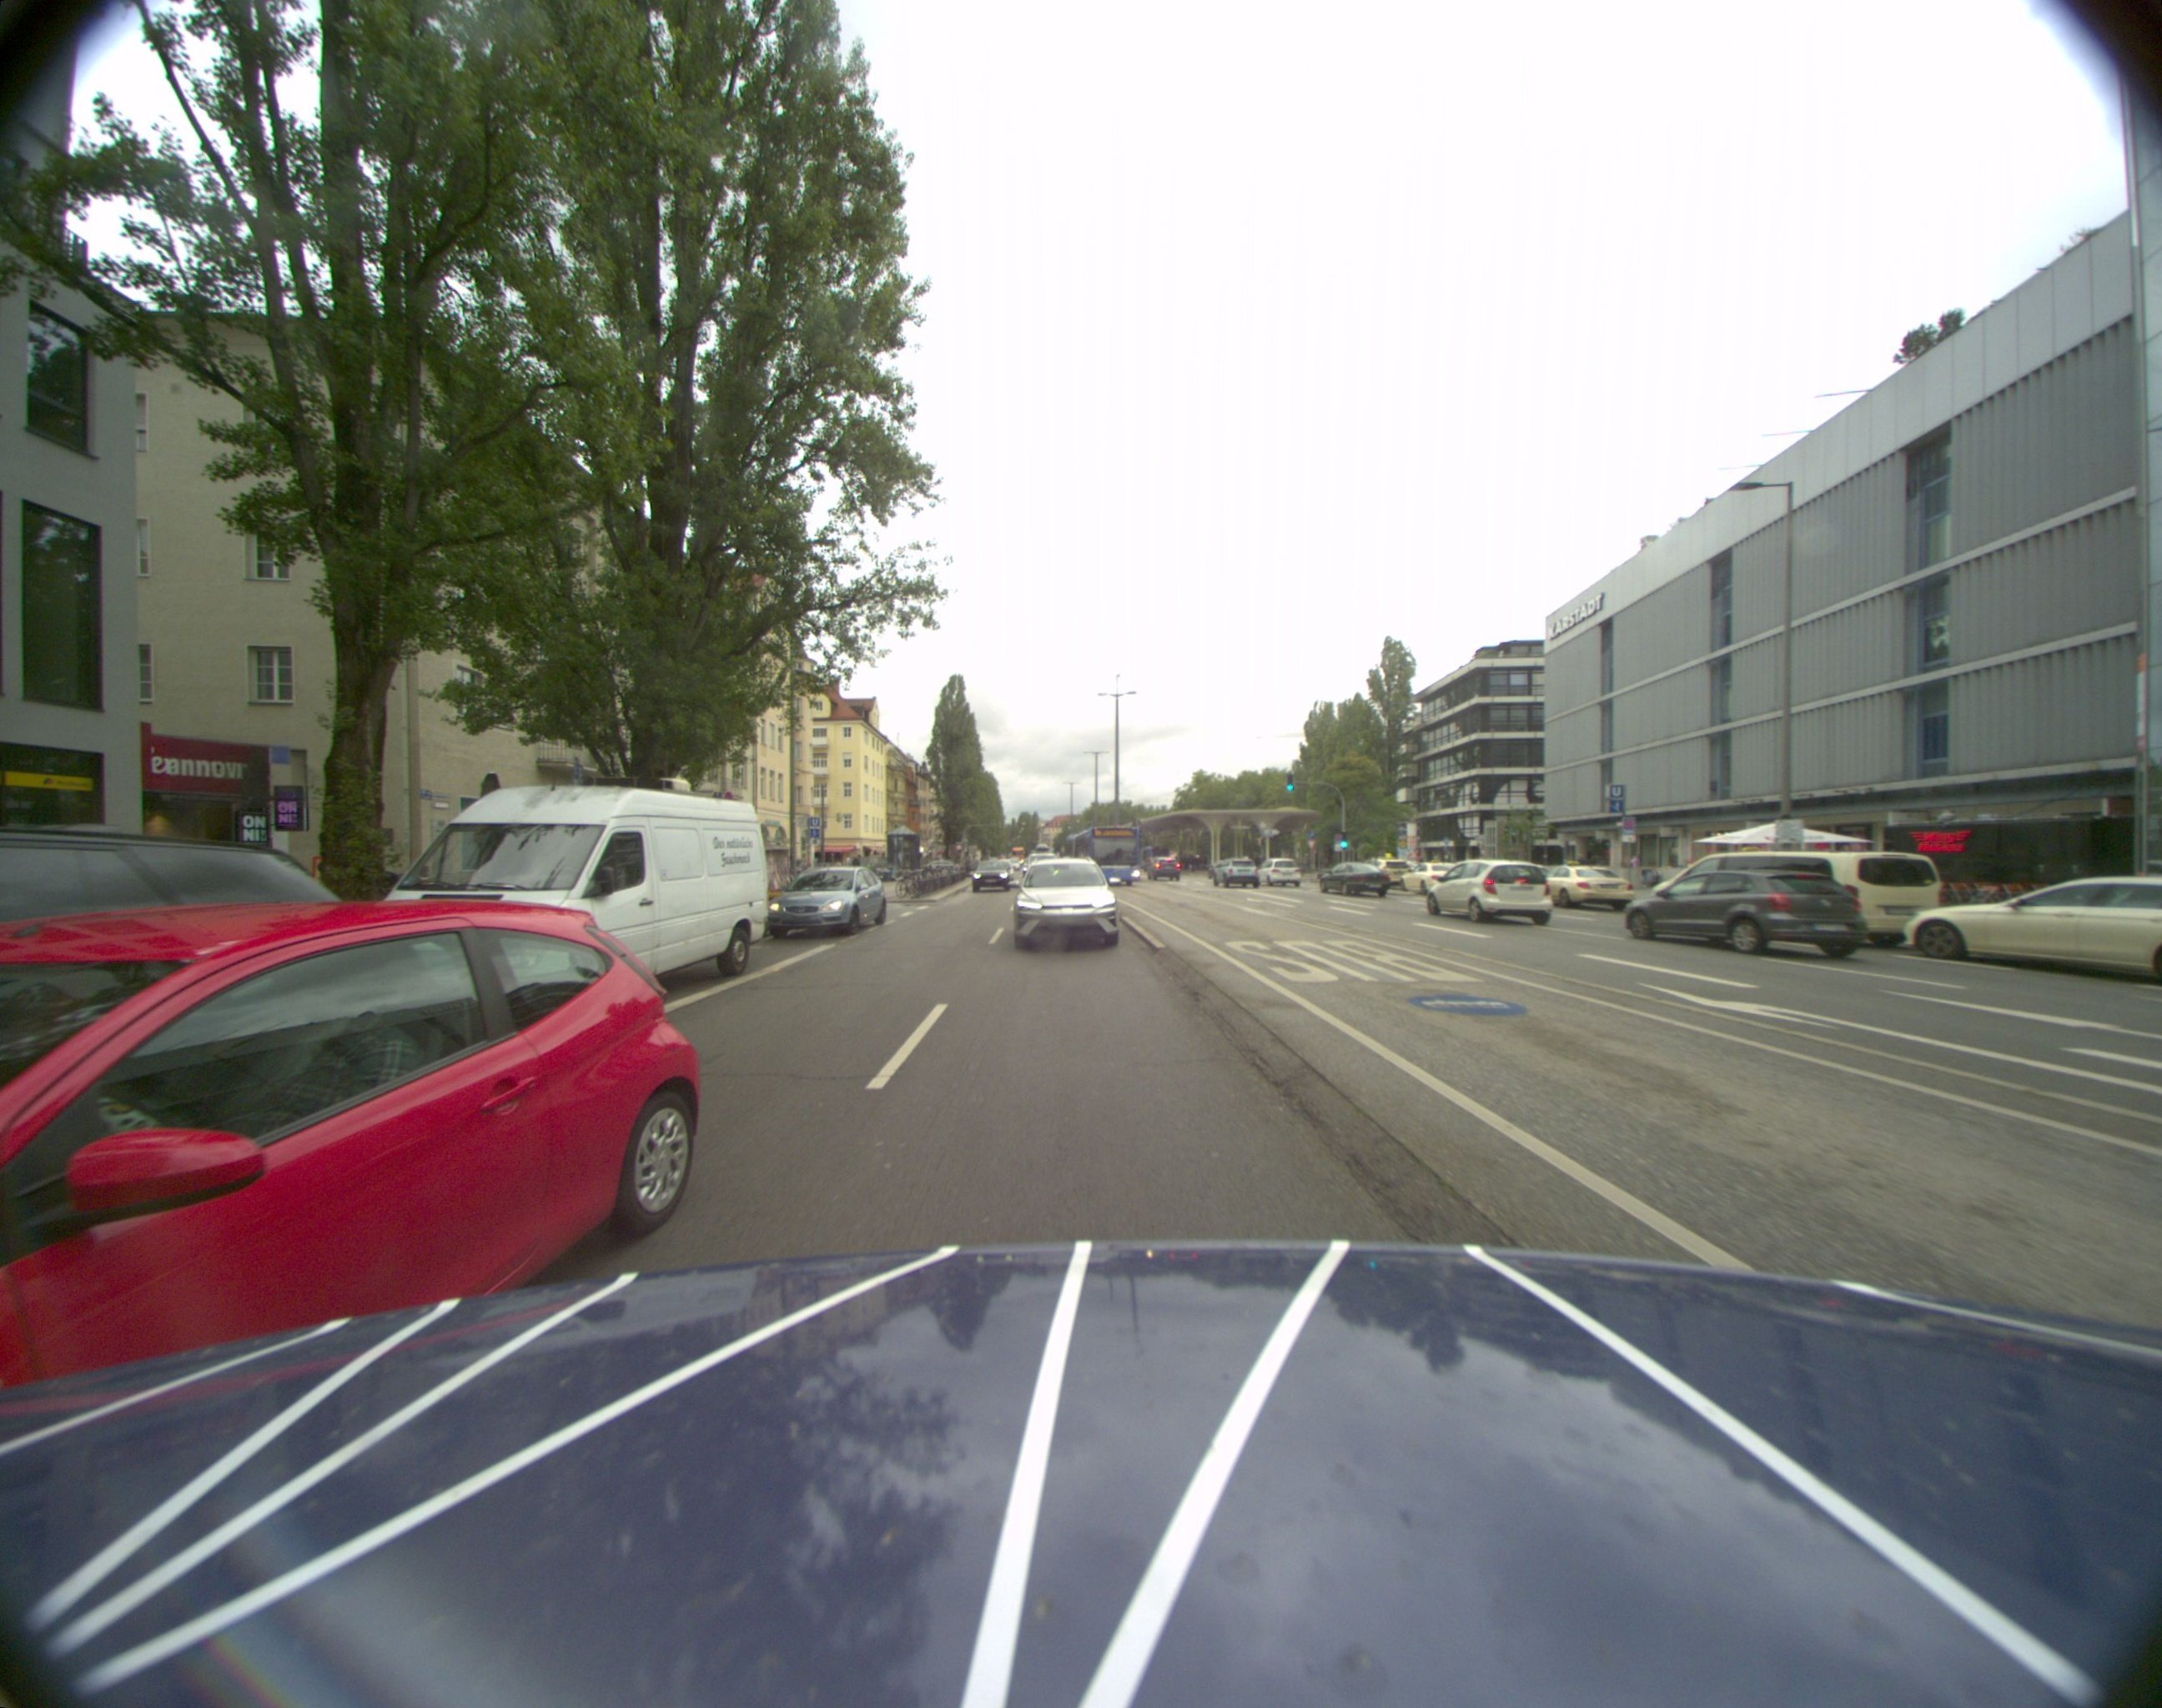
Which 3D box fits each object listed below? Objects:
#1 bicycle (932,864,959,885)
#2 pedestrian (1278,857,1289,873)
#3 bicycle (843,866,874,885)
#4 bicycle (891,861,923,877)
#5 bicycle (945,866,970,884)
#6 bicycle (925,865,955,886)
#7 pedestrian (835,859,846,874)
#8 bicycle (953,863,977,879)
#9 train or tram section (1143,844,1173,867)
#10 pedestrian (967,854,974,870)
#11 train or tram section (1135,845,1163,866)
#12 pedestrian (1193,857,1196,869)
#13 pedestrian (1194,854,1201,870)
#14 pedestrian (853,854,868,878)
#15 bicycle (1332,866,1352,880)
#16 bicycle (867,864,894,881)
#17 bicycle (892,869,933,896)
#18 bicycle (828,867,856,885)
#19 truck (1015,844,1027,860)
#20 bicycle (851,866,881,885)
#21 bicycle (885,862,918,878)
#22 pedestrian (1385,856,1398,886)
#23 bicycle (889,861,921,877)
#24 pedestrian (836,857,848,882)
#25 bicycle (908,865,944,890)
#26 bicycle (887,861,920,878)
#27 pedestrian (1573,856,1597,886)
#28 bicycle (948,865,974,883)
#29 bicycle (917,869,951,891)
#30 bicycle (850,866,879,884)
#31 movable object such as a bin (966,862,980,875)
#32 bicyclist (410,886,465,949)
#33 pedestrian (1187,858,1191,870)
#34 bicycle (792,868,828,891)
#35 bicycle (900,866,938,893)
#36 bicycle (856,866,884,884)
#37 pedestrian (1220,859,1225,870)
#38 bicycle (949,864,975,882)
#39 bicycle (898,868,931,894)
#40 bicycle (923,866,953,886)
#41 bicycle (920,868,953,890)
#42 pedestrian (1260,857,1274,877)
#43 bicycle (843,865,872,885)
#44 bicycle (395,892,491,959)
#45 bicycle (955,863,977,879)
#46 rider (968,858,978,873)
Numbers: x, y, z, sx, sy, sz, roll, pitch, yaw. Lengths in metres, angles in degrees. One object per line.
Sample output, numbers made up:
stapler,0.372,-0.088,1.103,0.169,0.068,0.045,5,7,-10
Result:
bicycle,-7.624,1.166,42.714,1.848,1.053,0.398,-5,-1,41
pedestrian,21.510,1.166,80.619,0.861,1.767,0.980,0,0,-3
bicycle,-12.933,1.275,44.209,1.662,1.071,0.410,1,1,-5
bicycle,-13.558,1.172,59.164,2.318,1.220,0.628,0,0,-1
bicycle,-7.708,1.311,47.382,1.790,1.130,0.490,-1,1,40
bicycle,-7.825,1.178,42.125,1.797,1.053,0.398,-4,-1,35
pedestrian,-20.761,1.063,65.520,0.701,1.238,0.918,0,2,-5
bicycle,-8.413,1.224,54.908,1.780,1.130,0.479,-1,1,31
train or tram section,10.236,0.263,102.167,2.841,2.983,7.404,0,0,-4
pedestrian,-12.831,0.916,88.089,0.732,1.791,0.710,0,2,-13
train or tram section,9.742,0.202,109.544,2.841,2.983,7.404,0,0,-4
pedestrian,13.762,1.075,92.213,0.335,1.493,0.317,0,0,-13
pedestrian,13.588,0.917,88.335,0.666,1.840,0.789,0,0,16
pedestrian,-15.671,0.866,53.960,0.741,1.698,0.703,0,0,-44
bicycle,18.642,1.334,54.209,1.298,1.010,0.419,0,0,-5
bicycle,-12.590,1.152,47.657,0.409,1.071,1.766,2,1,36
bicycle,-6.984,1.192,31.491,1.797,1.048,0.548,-4,-1,34
bicycle,-14.139,1.296,45.023,1.530,1.071,0.410,1,1,-5
truck,-13.606,-0.480,172.465,2.541,3.468,7.748,0,0,-4
bicycle,-12.678,1.264,44.732,1.638,1.071,0.410,1,1,1
bicycle,-13.507,1.192,57.148,2.318,1.220,0.628,0,0,-1
pedestrian,17.640,0.962,43.112,0.525,1.719,0.428,-1,1,-4
bicycle,-13.531,1.179,58.446,2.318,1.220,0.628,0,0,-1
pedestrian,-15.161,0.973,48.186,0.663,1.573,0.535,0,0,-28
bicycle,-7.463,1.149,36.588,1.797,1.098,0.548,-4,-1,35
bicycle,-13.491,1.185,57.784,2.318,1.220,0.628,0,0,-1
pedestrian,26.480,0.898,39.954,0.733,1.536,0.900,0,0,9
bicycle,-7.842,1.289,49.693,1.791,1.130,0.490,-1,1,35
bicycle,-7.171,1.262,37.012,1.797,1.004,0.387,-4,-1,35
bicycle,-12.964,1.263,45.450,1.626,1.071,0.410,1,1,-5
movable object such as a bin,-9.040,1.199,63.778,1.090,1.056,0.747,2,1,-7
bicyclist,-12.566,1.225,14.843,0.540,1.188,0.641,1,0,-4
pedestrian,13.114,1.200,92.436,0.426,1.493,0.490,1,0,22
bicycle,-13.560,1.270,38.047,1.632,1.097,0.410,1,1,5
bicycle,-7.386,1.169,34.524,1.797,1.098,0.548,-4,-1,35
bicycle,-12.784,1.252,46.096,1.606,1.071,0.410,1,1,-5
pedestrian,16.911,1.249,90.818,0.549,1.330,0.592,0,0,-4
bicycle,-7.998,1.279,51.012,1.791,1.130,0.591,-1,1,32
bicycle,-7.429,1.214,33.781,1.797,1.048,0.368,-5,-1,40
bicycle,-7.666,1.188,40.754,1.797,1.004,0.387,-4,-1,35
bicycle,-7.178,1.247,37.613,1.797,1.004,0.387,-4,-1,35
pedestrian,14.601,1.046,59.657,0.640,1.542,0.759,-2,1,-29
bicycle,-12.651,1.195,43.029,1.540,1.071,0.410,1,1,-5
bicycle,-12.795,1.396,15.309,0.528,1.187,1.772,1,0,-3
bicycle,-8.200,1.227,54.158,1.673,1.130,0.479,-1,1,36
rider,-9.066,0.937,63.828,0.732,1.234,0.732,2,1,-7
